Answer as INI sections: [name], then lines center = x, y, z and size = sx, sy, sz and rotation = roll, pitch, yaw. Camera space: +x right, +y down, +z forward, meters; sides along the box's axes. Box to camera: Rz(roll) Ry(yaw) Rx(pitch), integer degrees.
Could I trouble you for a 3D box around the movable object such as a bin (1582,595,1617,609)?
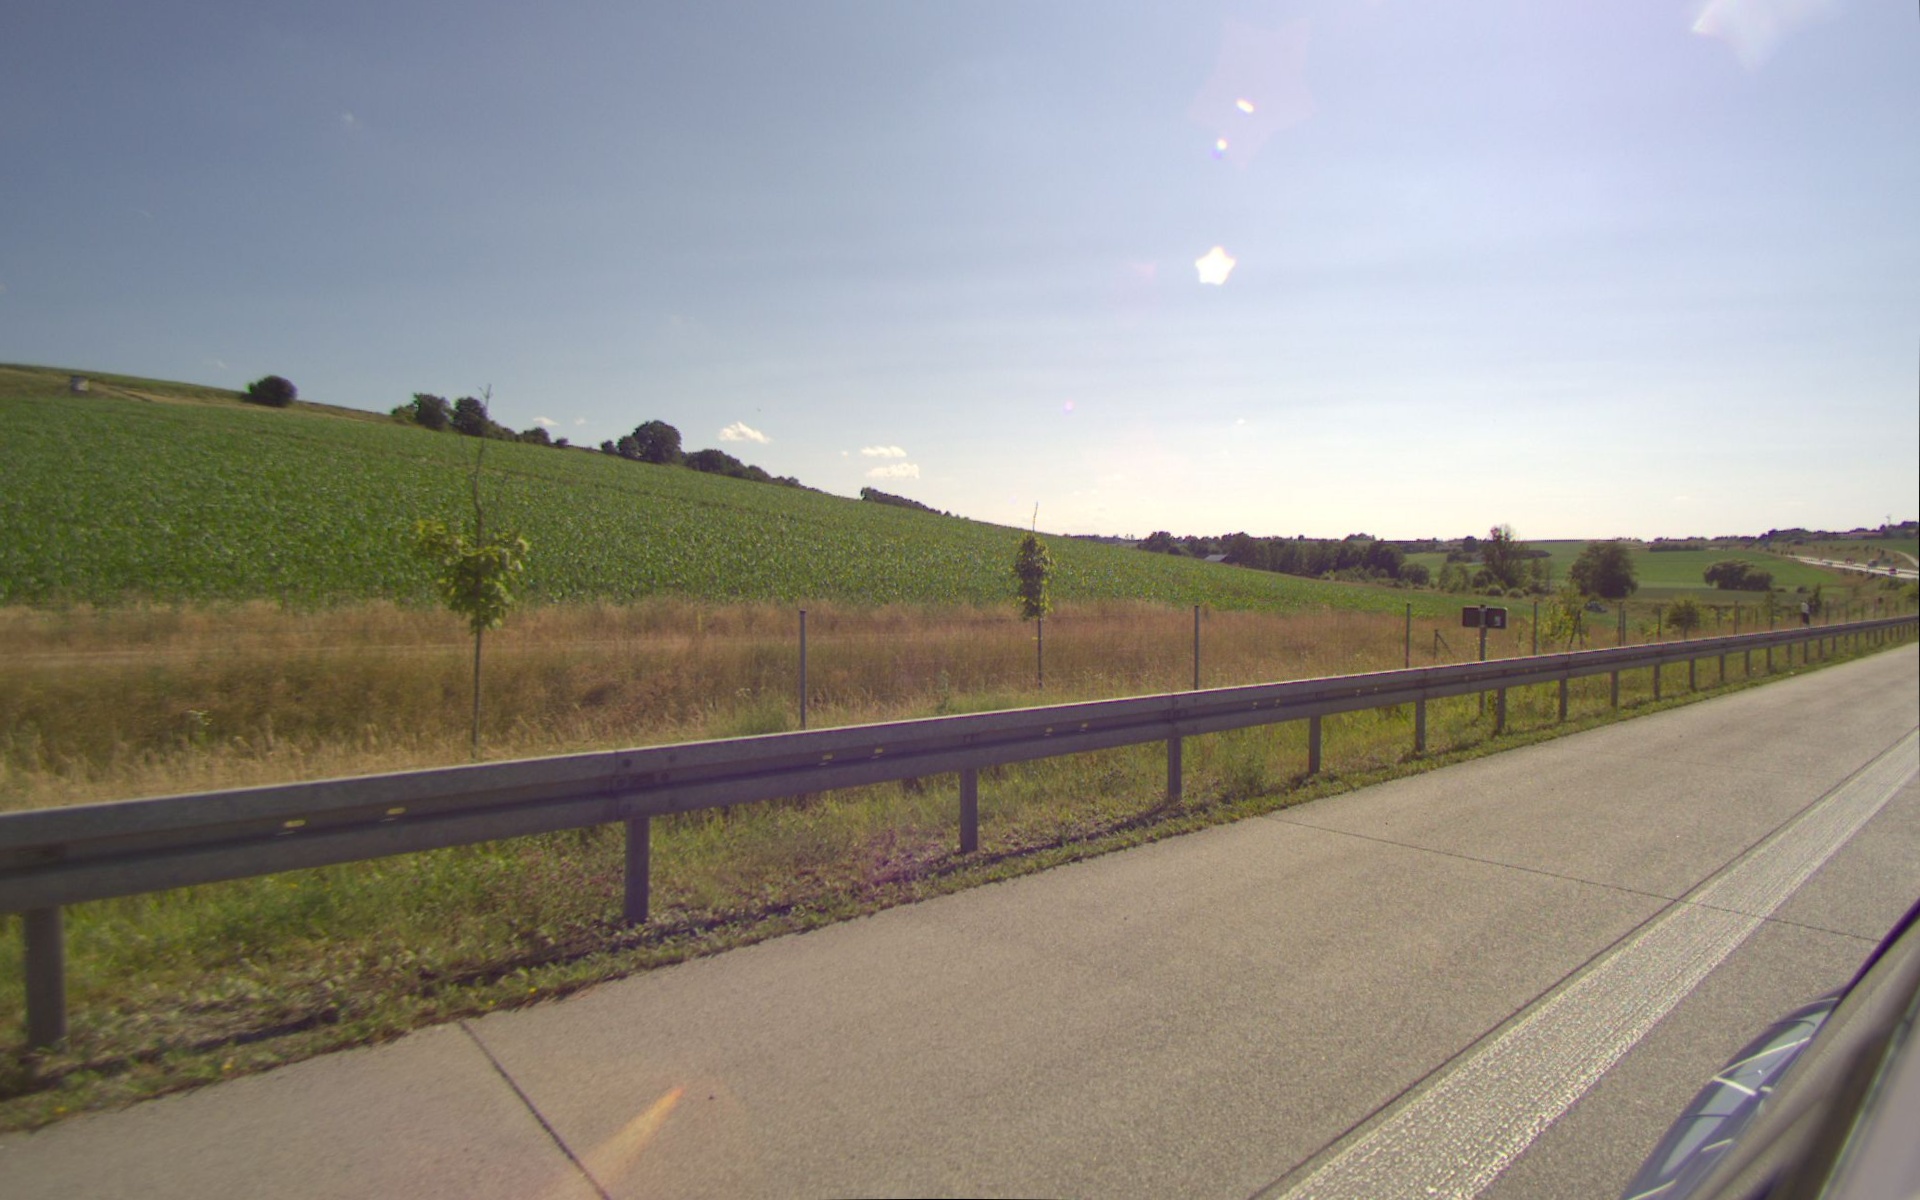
[movable object such as a bin]
center = 138.864, 0.346, 219.716
size = 3.221, 2.805, 6.240
rotation = -2, 2, -5
